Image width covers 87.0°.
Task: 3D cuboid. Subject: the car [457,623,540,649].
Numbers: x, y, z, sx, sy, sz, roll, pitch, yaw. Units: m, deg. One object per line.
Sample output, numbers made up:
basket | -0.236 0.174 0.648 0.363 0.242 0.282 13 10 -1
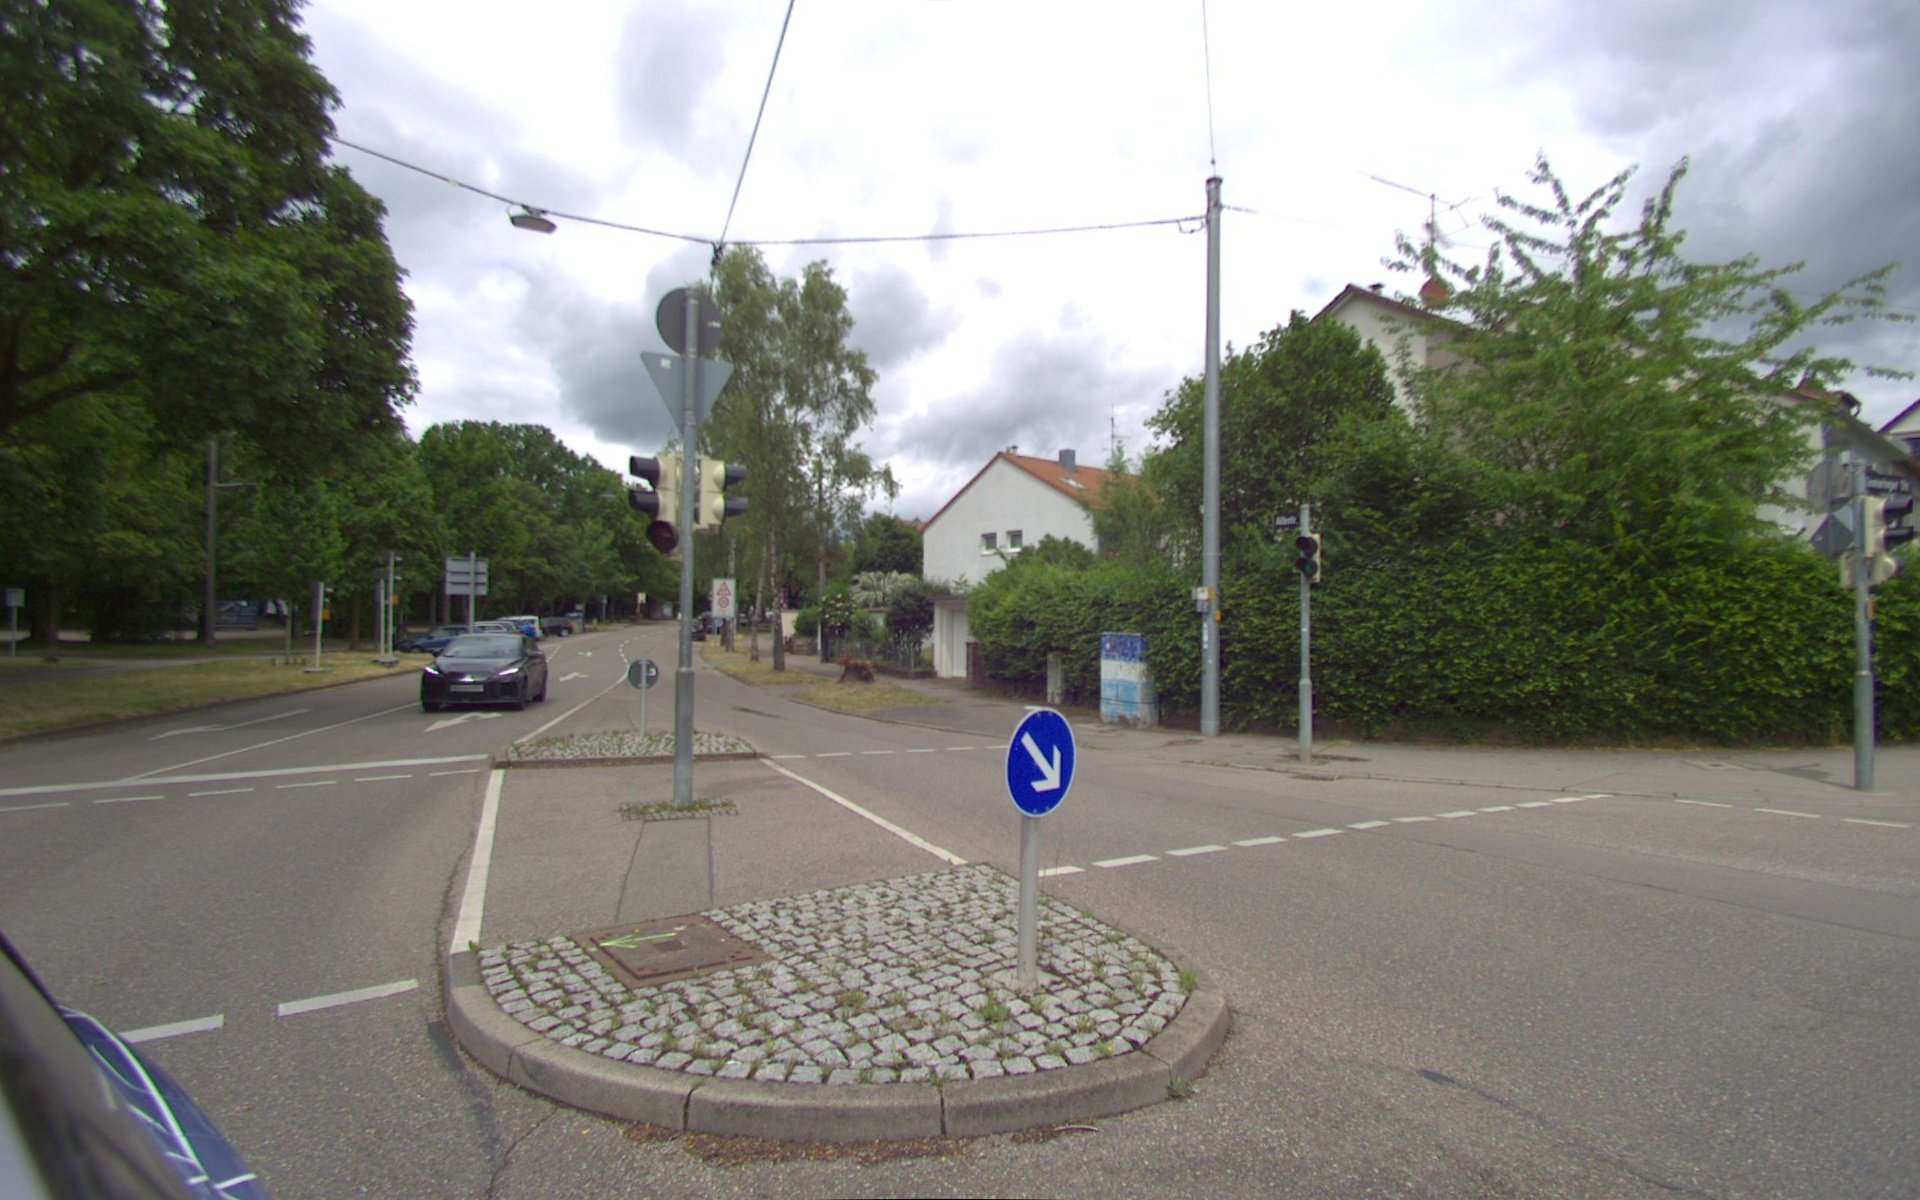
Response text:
car | -28.997 2.273 63.632 4.347 1.621 2.004 2 -3 -38

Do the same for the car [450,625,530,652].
car | -27.334 2.259 58.891 3.932 1.497 1.924 2 -3 -33

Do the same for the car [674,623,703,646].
car | -21.560 2.696 80.370 1.943 1.621 4.430 2 -1 -12

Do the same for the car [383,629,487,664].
car | -23.844 2.108 45.997 3.934 1.497 1.923 2 -2 -36

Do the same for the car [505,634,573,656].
car | -31.015 3.318 74.569 4.343 1.621 2.006 1 -3 -29

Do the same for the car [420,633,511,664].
car | -25.004 2.442 51.214 3.932 1.497 1.924 2 -3 -33

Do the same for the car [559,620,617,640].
car | -30.828 2.489 83.931 4.342 1.621 2.006 1 -3 -24

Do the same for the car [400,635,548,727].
car | -9.699 1.542 20.523 1.966 1.630 4.011 0 -2 -15
